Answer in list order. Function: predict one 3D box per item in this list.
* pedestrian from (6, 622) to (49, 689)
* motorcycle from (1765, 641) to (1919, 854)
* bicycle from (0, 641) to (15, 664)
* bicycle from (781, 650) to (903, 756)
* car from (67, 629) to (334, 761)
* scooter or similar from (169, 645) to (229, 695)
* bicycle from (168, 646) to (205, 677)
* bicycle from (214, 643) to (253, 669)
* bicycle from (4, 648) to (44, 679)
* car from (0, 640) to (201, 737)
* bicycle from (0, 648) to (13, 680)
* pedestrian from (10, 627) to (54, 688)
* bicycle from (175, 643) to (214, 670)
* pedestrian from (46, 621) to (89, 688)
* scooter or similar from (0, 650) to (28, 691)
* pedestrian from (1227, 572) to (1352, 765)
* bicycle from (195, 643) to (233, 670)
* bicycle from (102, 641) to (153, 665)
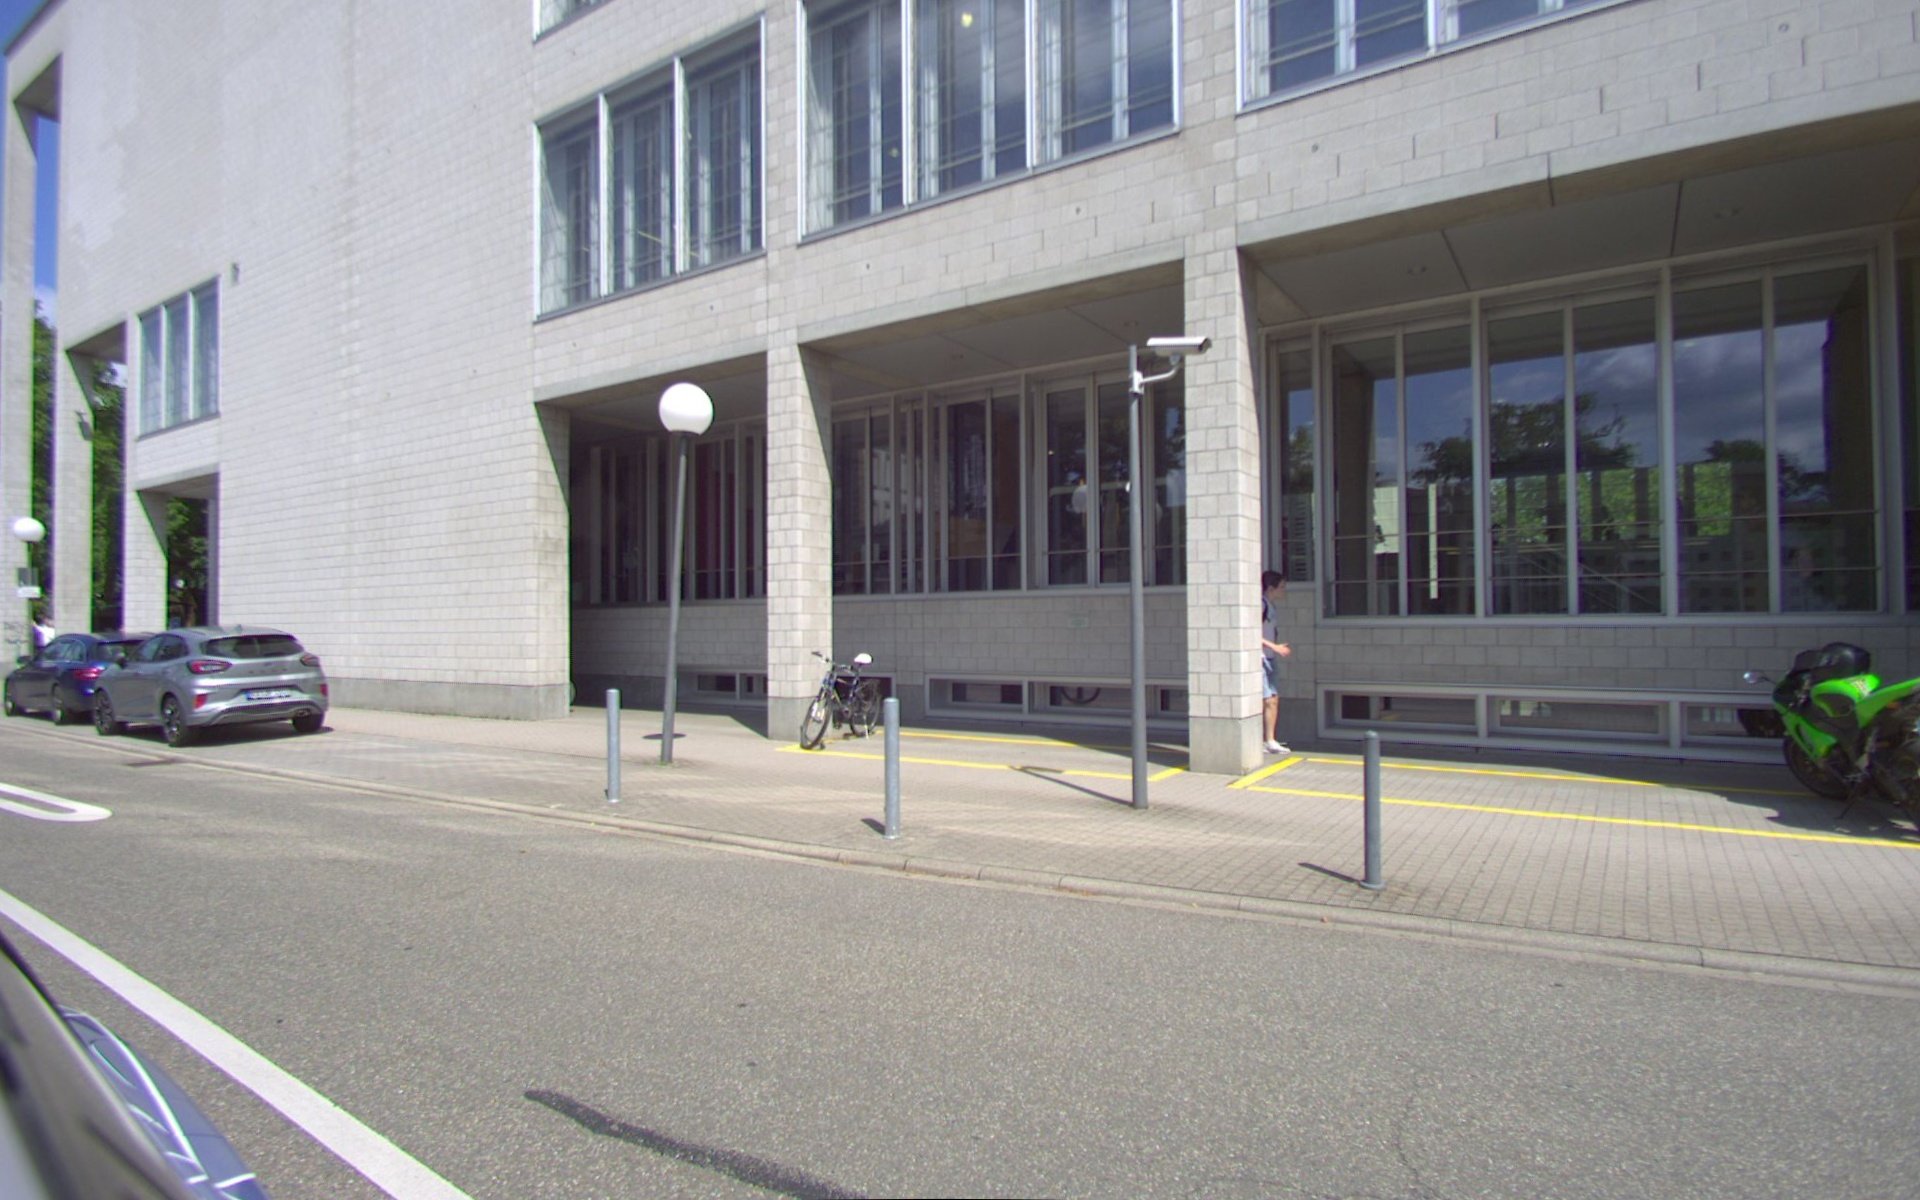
[{"bbox_3d":[-29.026,1.704,31.505,1.078,2.029,0.747,-2,-2,33],"label":"pedestrian"},{"bbox_3d":[6.190,0.883,6.699,0.770,1.146,2.155,-1,-1,23],"label":"motorcycle"},{"bbox_3d":[-49.706,2.710,51.740,0.743,1.166,2.122,-1,-1,4],"label":"bicycle"},{"bbox_3d":[-1.351,1.165,11.897,0.605,1.095,1.628,-2,-1,28],"label":"bicycle"},{"bbox_3d":[-10.883,1.229,14.408,4.394,1.546,1.712,-1,0,34],"label":"car"},{"bbox_3d":[-19.707,1.795,26.223,1.195,1.241,0.402,-1,-1,-16],"label":"scooter or similar"},{"bbox_3d":[-26.581,2.103,34.771,1.962,0.994,0.511,-2,-1,38],"label":"bicycle"},{"bbox_3d":[-30.650,2.337,42.673,2.168,1.066,0.615,-1,-1,33],"label":"bicycle"},{"bbox_3d":[-34.302,2.305,37.076,2.118,1.066,0.585,-1,-1,33],"label":"bicycle"},{"bbox_3d":[-14.993,1.435,17.397,4.652,1.434,1.712,-2,-2,34],"label":"car"},{"bbox_3d":[-34.749,2.284,36.363,1.993,1.115,0.503,-2,-2,30],"label":"bicycle"},{"bbox_3d":[-28.083,1.729,30.637,1.078,1.794,0.747,-2,-2,33],"label":"pedestrian"},{"bbox_3d":[-31.435,2.322,41.551,2.118,1.066,0.615,-1,-1,33],"label":"bicycle"},{"bbox_3d":[-27.808,1.687,31.525,1.078,2.029,0.747,-2,-2,33],"label":"pedestrian"},{"bbox_3d":[-27.261,2.027,29.146,1.309,1.153,0.314,-2,-2,34],"label":"scooter or similar"},{"bbox_3d":[3.354,0.672,10.308,1.011,1.852,0.771,-2,-2,33],"label":"pedestrian"},{"bbox_3d":[-31.075,2.344,42.151,2.118,1.066,0.615,-1,-1,33],"label":"bicycle"},{"bbox_3d":[-41.836,2.636,50.888,0.743,1.115,2.122,-1,-1,4],"label":"bicycle"}]
